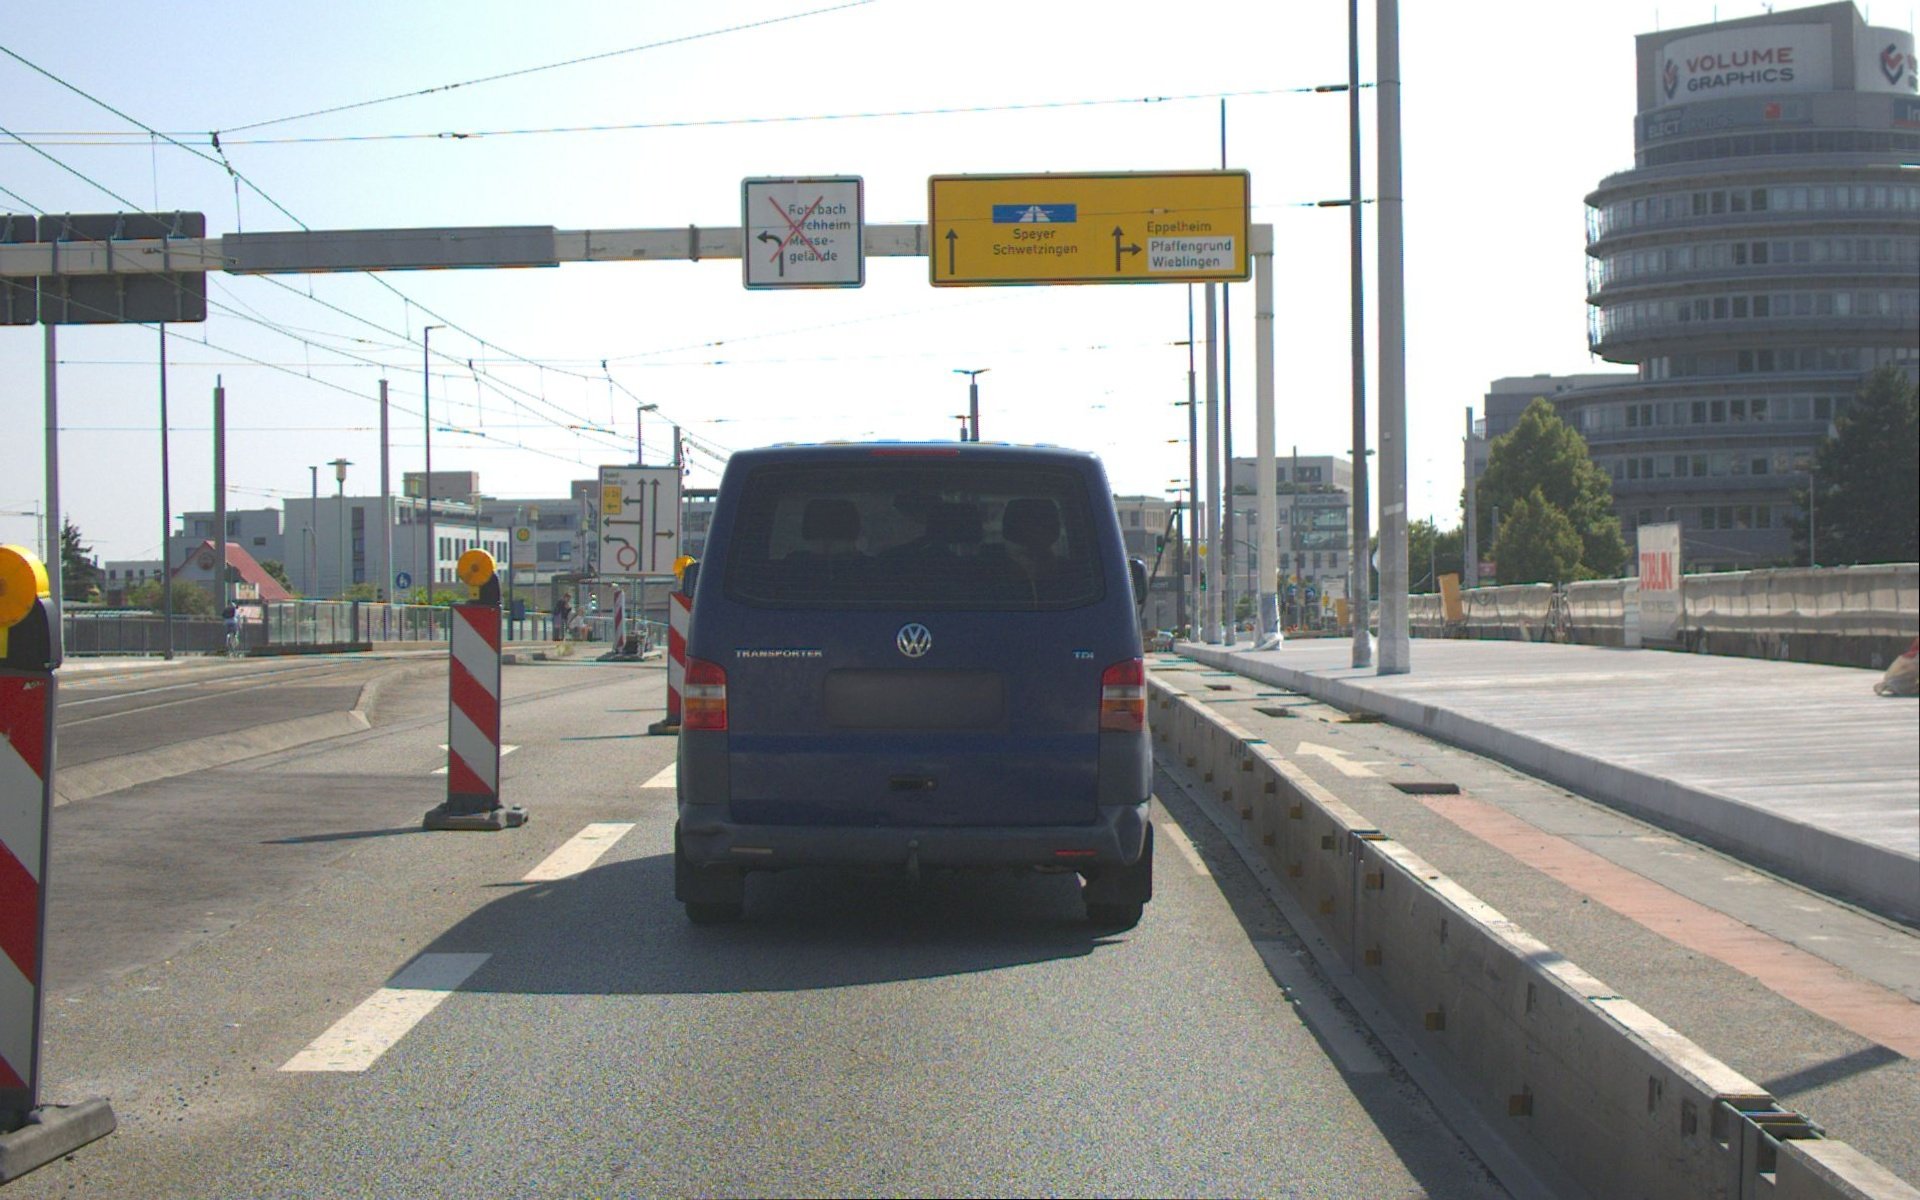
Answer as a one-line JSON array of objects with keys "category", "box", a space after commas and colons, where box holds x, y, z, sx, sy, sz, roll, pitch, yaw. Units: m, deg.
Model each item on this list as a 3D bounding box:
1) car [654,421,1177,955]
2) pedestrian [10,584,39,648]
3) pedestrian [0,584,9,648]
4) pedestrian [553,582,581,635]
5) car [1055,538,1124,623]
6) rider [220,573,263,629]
[{"category": "car", "box": [-0.176, 0.314, 14.614, 1.888, 1.927, 4.000, 1, 0, 0]}, {"category": "pedestrian", "box": [-24.922, 0.420, 91.592, 0.486, 1.681, 0.808, -1, 0, 3]}, {"category": "pedestrian", "box": [-25.716, 0.423, 91.350, 0.597, 1.681, 0.817, -1, 0, 3]}, {"category": "pedestrian", "box": [-12.402, 0.266, 108.522, 0.660, 1.649, 0.739, -1, 0, 14]}, {"category": "car", "box": [4.558, -0.675, 120.732, 2.339, 2.877, 5.970, 1, 0, 2]}, {"category": "rider", "box": [-22.591, 0.027, 108.158, 0.763, 1.727, 2.952, 0, 0, -1]}]
